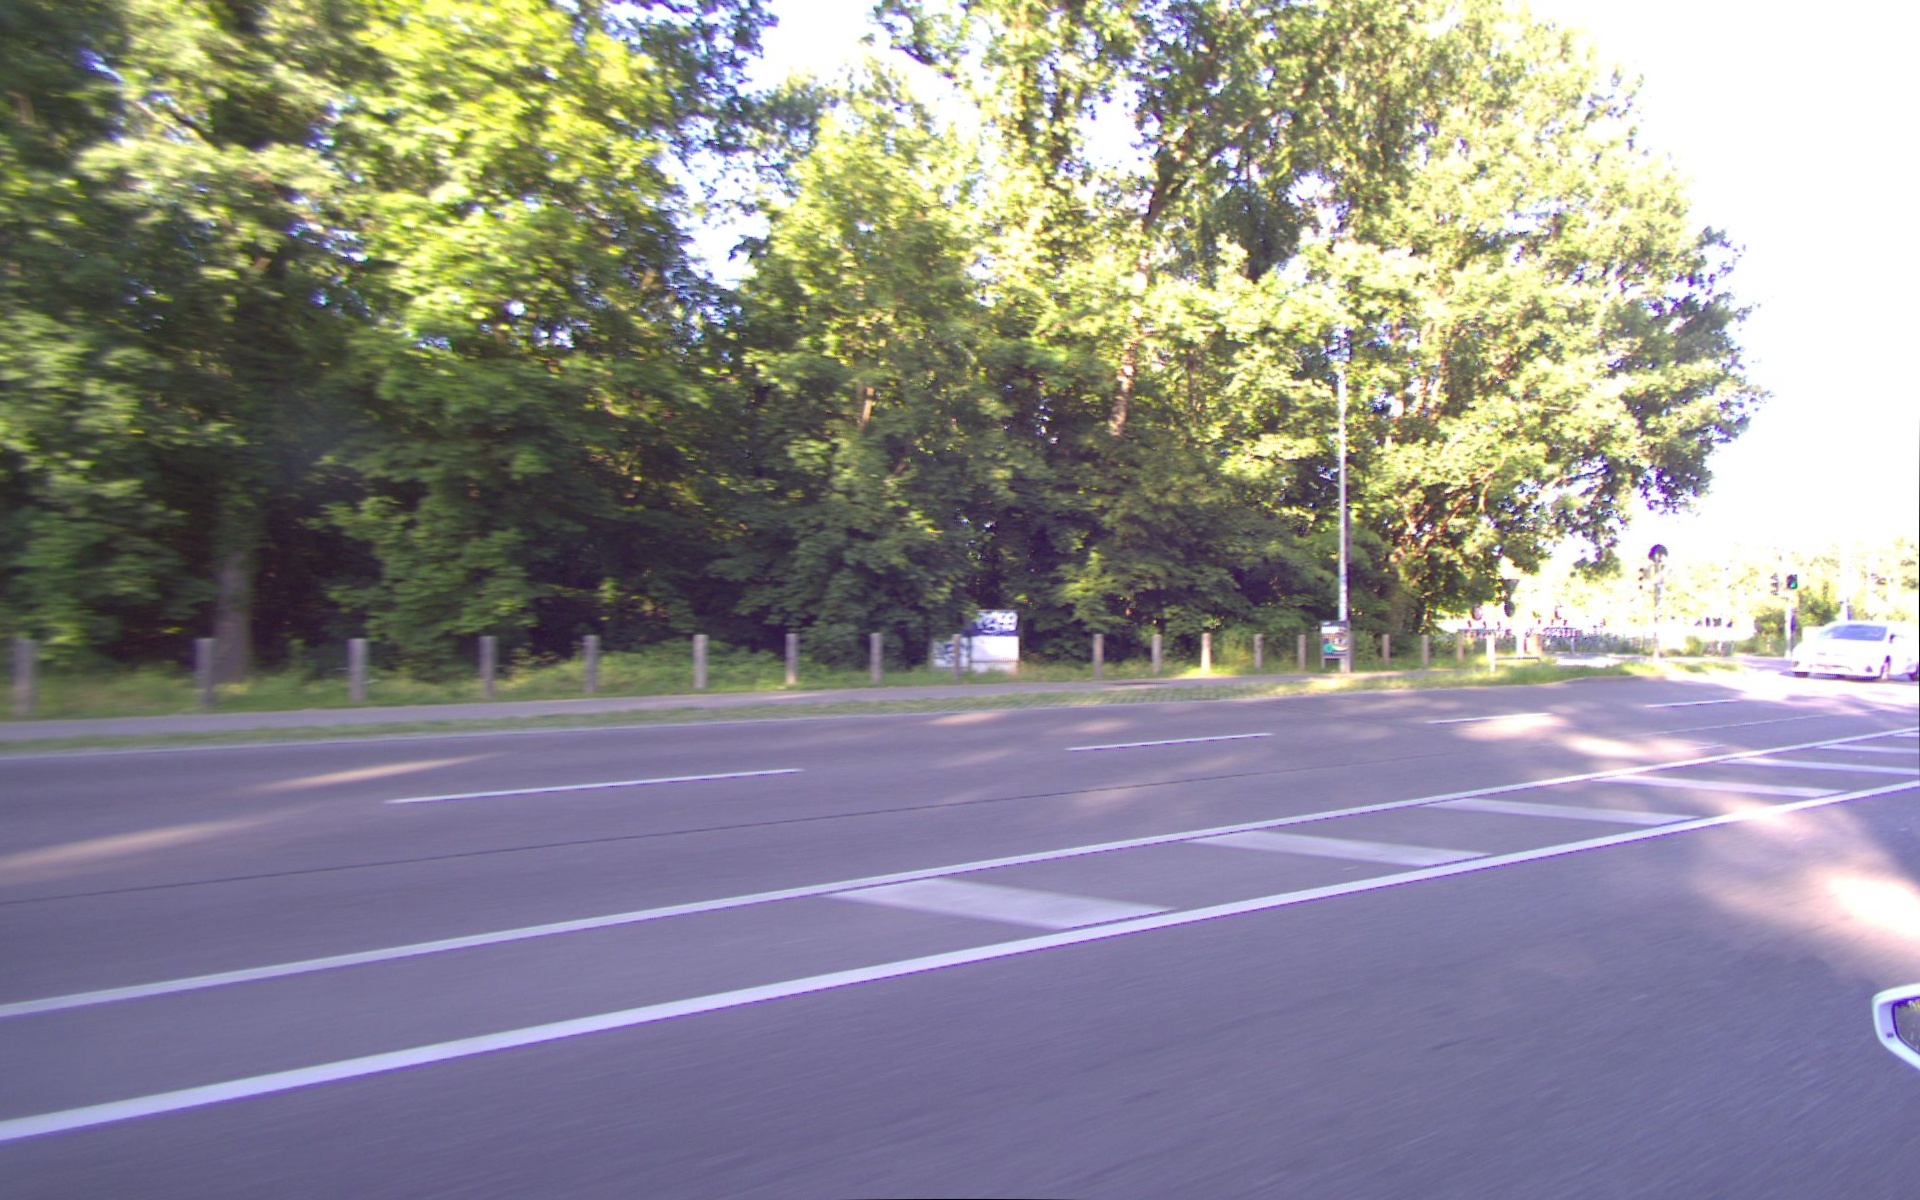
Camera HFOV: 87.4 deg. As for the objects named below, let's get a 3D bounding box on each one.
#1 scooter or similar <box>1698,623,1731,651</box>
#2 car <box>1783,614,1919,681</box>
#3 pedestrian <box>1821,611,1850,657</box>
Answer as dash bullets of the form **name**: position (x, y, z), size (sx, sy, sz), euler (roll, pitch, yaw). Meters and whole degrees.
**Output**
- **scooter or similar**: position (33.885, 1.651, 45.101), size (1.337, 1.240, 0.511), euler (1, -1, -16)
- **car**: position (22.328, 1.143, 24.965), size (4.056, 1.483, 1.701), euler (1, 1, -33)
- **pedestrian**: position (37.487, 1.466, 43.022), size (1.093, 1.934, 0.609), euler (2, -1, -30)
